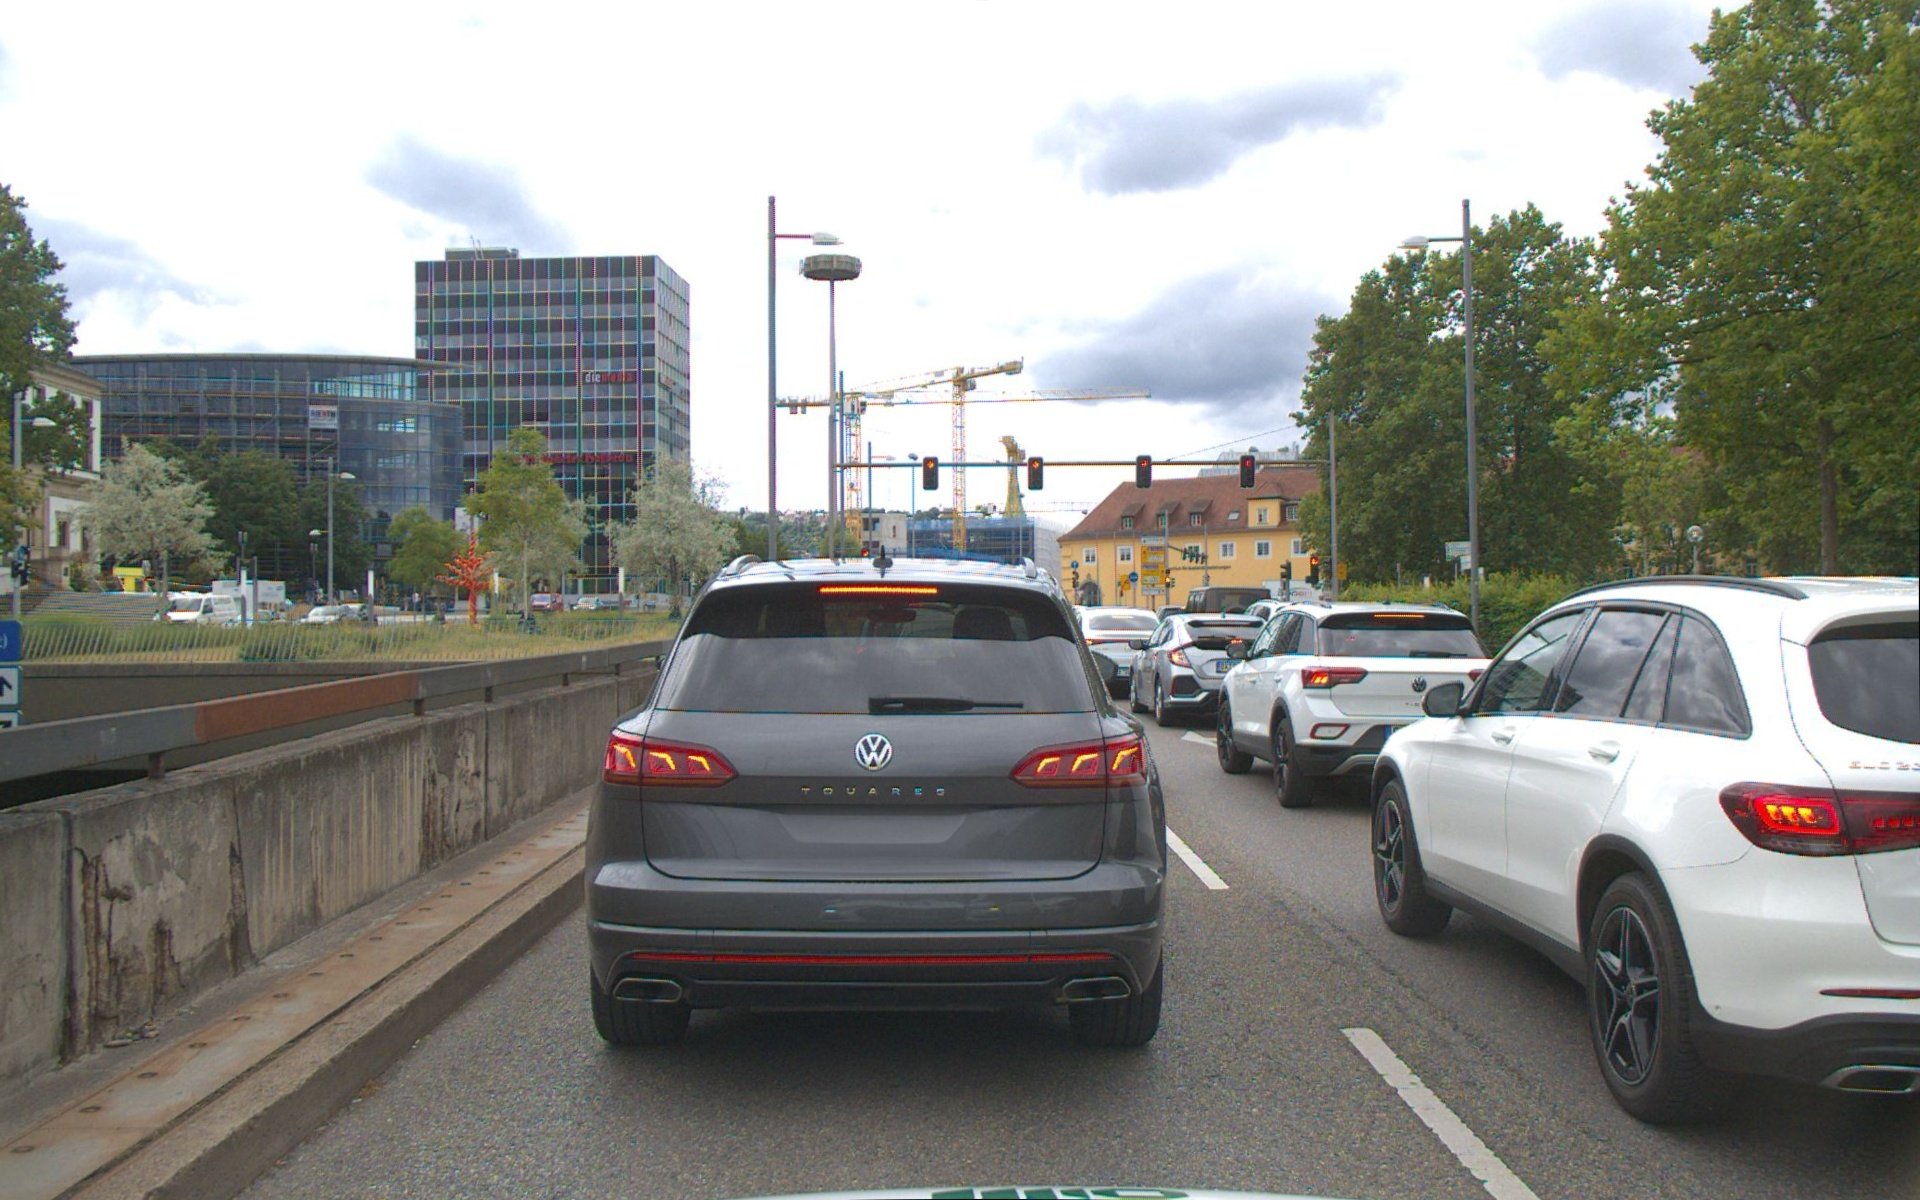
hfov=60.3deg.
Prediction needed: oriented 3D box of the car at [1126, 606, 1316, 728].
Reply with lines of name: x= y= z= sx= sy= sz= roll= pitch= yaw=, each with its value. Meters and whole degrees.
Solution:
car: x=3.383 y=0.841 z=22.241 sx=1.887 sy=1.457 sz=4.489 roll=1 pitch=-1 yaw=0

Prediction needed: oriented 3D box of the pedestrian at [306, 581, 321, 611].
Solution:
pedestrian: x=-44.674 y=-0.291 z=114.312 sx=0.723 sy=2.049 sz=0.793 roll=-1 pitch=1 yaw=0

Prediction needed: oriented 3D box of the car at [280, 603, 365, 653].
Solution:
car: x=-28.580 y=1.235 z=74.295 sx=1.953 sy=2.048 sz=4.692 roll=0 pitch=1 yaw=0

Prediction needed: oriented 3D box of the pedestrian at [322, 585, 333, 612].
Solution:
pedestrian: x=-47.596 y=-0.122 z=124.445 sx=0.729 sy=2.049 sz=0.914 roll=-1 pitch=1 yaw=-24

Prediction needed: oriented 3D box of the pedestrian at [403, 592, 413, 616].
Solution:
pedestrian: x=-48.497 y=0.356 z=145.365 sx=0.728 sy=2.049 sz=0.787 roll=-1 pitch=1 yaw=-23

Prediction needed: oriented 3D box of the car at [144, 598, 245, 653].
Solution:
car: x=-31.367 y=1.009 z=67.955 sx=1.953 sy=2.048 sz=4.692 roll=0 pitch=1 yaw=0

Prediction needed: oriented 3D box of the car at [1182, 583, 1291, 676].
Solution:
car: x=6.482 y=0.687 z=39.203 sx=1.871 sy=2.049 sz=4.012 roll=2 pitch=-1 yaw=0

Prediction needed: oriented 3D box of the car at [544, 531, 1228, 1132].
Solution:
car: x=-0.236 y=0.656 z=6.652 sx=1.912 sy=1.680 sz=3.999 roll=0 pitch=0 yaw=-1

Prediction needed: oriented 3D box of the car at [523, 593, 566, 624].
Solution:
car: x=-29.263 y=0.552 z=116.547 sx=1.953 sy=2.048 sz=4.691 roll=0 pitch=1 yaw=-2

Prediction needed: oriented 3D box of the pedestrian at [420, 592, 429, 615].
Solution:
pedestrian: x=-46.971 y=0.292 z=145.083 sx=0.726 sy=2.049 sz=0.789 roll=-1 pitch=1 yaw=-16

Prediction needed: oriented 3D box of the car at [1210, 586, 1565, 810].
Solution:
car: x=3.384 y=0.724 z=14.023 sx=1.887 sy=1.578 sz=4.489 roll=1 pitch=-1 yaw=0

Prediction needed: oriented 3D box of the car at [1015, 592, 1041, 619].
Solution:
car: x=4.546 y=0.402 z=111.418 sx=1.586 sy=1.656 sz=3.999 roll=2 pitch=-1 yaw=0

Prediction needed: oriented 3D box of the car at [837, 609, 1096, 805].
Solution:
car: x=0.015 y=0.814 z=14.391 sx=1.912 sy=1.408 sz=3.930 roll=2 pitch=0 yaw=-1

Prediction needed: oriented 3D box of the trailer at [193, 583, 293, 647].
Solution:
trailer: x=-31.612 y=0.621 z=73.080 sx=1.996 sy=2.650 sz=5.507 roll=2 pitch=1 yaw=-1

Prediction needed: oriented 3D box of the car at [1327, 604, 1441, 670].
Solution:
car: x=10.227 y=0.901 z=40.240 sx=1.891 sy=1.485 sz=4.529 roll=1 pitch=-1 yaw=4

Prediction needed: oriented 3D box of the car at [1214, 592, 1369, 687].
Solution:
car: x=6.409 y=0.713 z=32.484 sx=1.954 sy=1.668 sz=4.302 roll=0 pitch=1 yaw=-3

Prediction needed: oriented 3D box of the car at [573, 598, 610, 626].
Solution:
car: x=-29.371 y=0.941 z=131.984 sx=1.953 sy=2.048 sz=4.691 roll=0 pitch=1 yaw=-1

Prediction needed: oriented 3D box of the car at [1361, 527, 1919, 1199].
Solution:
car: x=2.986 y=0.659 z=6.251 sx=1.887 sy=1.682 sz=4.490 roll=0 pitch=0 yaw=0

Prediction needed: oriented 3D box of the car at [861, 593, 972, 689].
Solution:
car: x=-0.801 y=0.726 z=31.008 sx=1.912 sy=1.628 sz=3.930 roll=2 pitch=0 yaw=-1

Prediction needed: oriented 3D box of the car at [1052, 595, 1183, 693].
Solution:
car: x=2.668 y=0.740 z=28.957 sx=1.887 sy=1.556 sz=4.489 roll=1 pitch=-1 yaw=0

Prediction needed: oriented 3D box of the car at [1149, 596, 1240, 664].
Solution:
car: x=6.303 y=0.800 z=44.779 sx=1.871 sy=1.727 sz=4.012 roll=2 pitch=-1 yaw=0

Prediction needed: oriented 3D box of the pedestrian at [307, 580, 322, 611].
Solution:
pedestrian: x=-42.845 y=-0.301 z=109.802 sx=0.723 sy=2.049 sz=0.793 roll=0 pitch=-2 yaw=-1

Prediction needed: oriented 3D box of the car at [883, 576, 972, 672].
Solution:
car: x=-0.755 y=0.534 z=38.545 sx=1.912 sy=2.053 sz=3.930 roll=2 pitch=0 yaw=-1

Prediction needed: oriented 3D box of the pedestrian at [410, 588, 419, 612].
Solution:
pedestrian: x=-47.709 y=0.014 z=144.650 sx=0.726 sy=2.049 sz=0.789 roll=-1 pitch=1 yaw=-16

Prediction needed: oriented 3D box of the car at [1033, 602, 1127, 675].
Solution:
car: x=2.684 y=0.853 z=37.776 sx=1.887 sy=1.556 sz=4.047 roll=1 pitch=-1 yaw=0

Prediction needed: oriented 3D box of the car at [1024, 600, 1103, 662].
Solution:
car: x=2.707 y=0.821 z=44.065 sx=1.887 sy=1.556 sz=4.047 roll=1 pitch=-1 yaw=0

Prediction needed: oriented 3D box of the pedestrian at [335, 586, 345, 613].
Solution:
pedestrian: x=-47.359 y=-0.069 z=126.344 sx=0.728 sy=2.049 sz=0.914 roll=-1 pitch=1 yaw=-22

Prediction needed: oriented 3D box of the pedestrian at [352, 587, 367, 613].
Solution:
pedestrian: x=-46.440 y=-0.004 z=127.885 sx=0.773 sy=2.049 sz=0.741 roll=0 pitch=1 yaw=13
